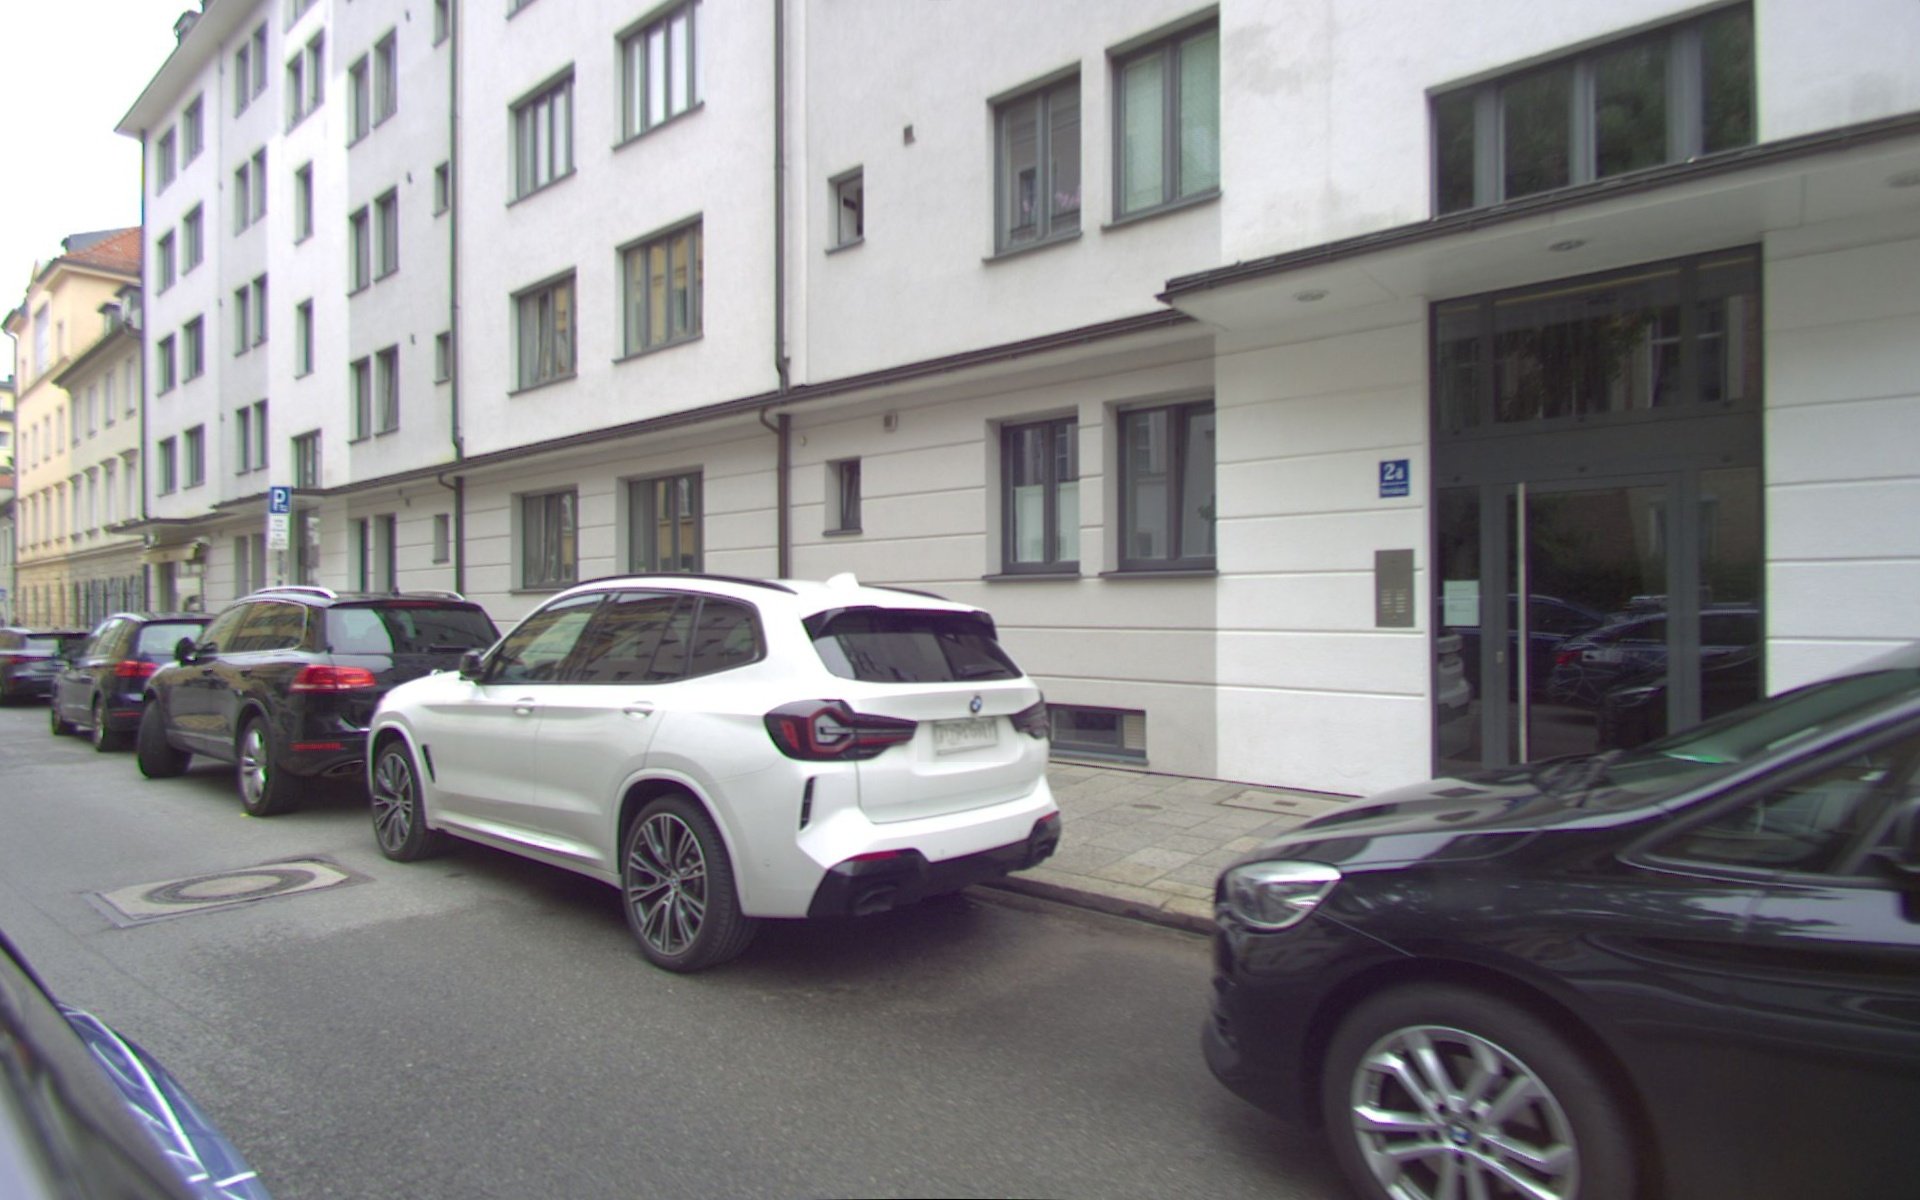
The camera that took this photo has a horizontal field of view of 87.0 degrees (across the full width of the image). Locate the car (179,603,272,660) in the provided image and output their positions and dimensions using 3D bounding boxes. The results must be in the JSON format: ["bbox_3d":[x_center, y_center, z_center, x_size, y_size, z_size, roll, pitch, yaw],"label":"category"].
[{"bbox_3d":[-28.334,1.182,39.014,4.398,2.029,1.973,-1,0,41],"label":"car"}]

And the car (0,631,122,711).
[{"bbox_3d":[-17.564,1.296,19.080,4.047,1.365,1.625,-2,-3,34],"label":"car"}]

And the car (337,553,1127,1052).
[{"bbox_3d":[-1.546,0.768,5.604,4.586,1.671,1.853,-2,-3,40],"label":"car"}]

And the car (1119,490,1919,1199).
[{"bbox_3d":[2.800,0.654,2.052,4.583,1.671,1.854,-2,-3,38],"label":"car"}]

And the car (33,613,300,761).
[{"bbox_3d":[-9.973,0.997,12.622,4.155,1.551,1.755,-2,-3,40],"label":"car"}]

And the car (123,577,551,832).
[{"bbox_3d":[-5.658,0.790,8.957,4.516,1.701,1.853,-2,-3,40],"label":"car"}]

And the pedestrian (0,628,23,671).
[{"bbox_3d":[-38.995,2.004,41.455,1.021,1.725,0.797,-2,-2,41],"label":"pedestrian"}]
